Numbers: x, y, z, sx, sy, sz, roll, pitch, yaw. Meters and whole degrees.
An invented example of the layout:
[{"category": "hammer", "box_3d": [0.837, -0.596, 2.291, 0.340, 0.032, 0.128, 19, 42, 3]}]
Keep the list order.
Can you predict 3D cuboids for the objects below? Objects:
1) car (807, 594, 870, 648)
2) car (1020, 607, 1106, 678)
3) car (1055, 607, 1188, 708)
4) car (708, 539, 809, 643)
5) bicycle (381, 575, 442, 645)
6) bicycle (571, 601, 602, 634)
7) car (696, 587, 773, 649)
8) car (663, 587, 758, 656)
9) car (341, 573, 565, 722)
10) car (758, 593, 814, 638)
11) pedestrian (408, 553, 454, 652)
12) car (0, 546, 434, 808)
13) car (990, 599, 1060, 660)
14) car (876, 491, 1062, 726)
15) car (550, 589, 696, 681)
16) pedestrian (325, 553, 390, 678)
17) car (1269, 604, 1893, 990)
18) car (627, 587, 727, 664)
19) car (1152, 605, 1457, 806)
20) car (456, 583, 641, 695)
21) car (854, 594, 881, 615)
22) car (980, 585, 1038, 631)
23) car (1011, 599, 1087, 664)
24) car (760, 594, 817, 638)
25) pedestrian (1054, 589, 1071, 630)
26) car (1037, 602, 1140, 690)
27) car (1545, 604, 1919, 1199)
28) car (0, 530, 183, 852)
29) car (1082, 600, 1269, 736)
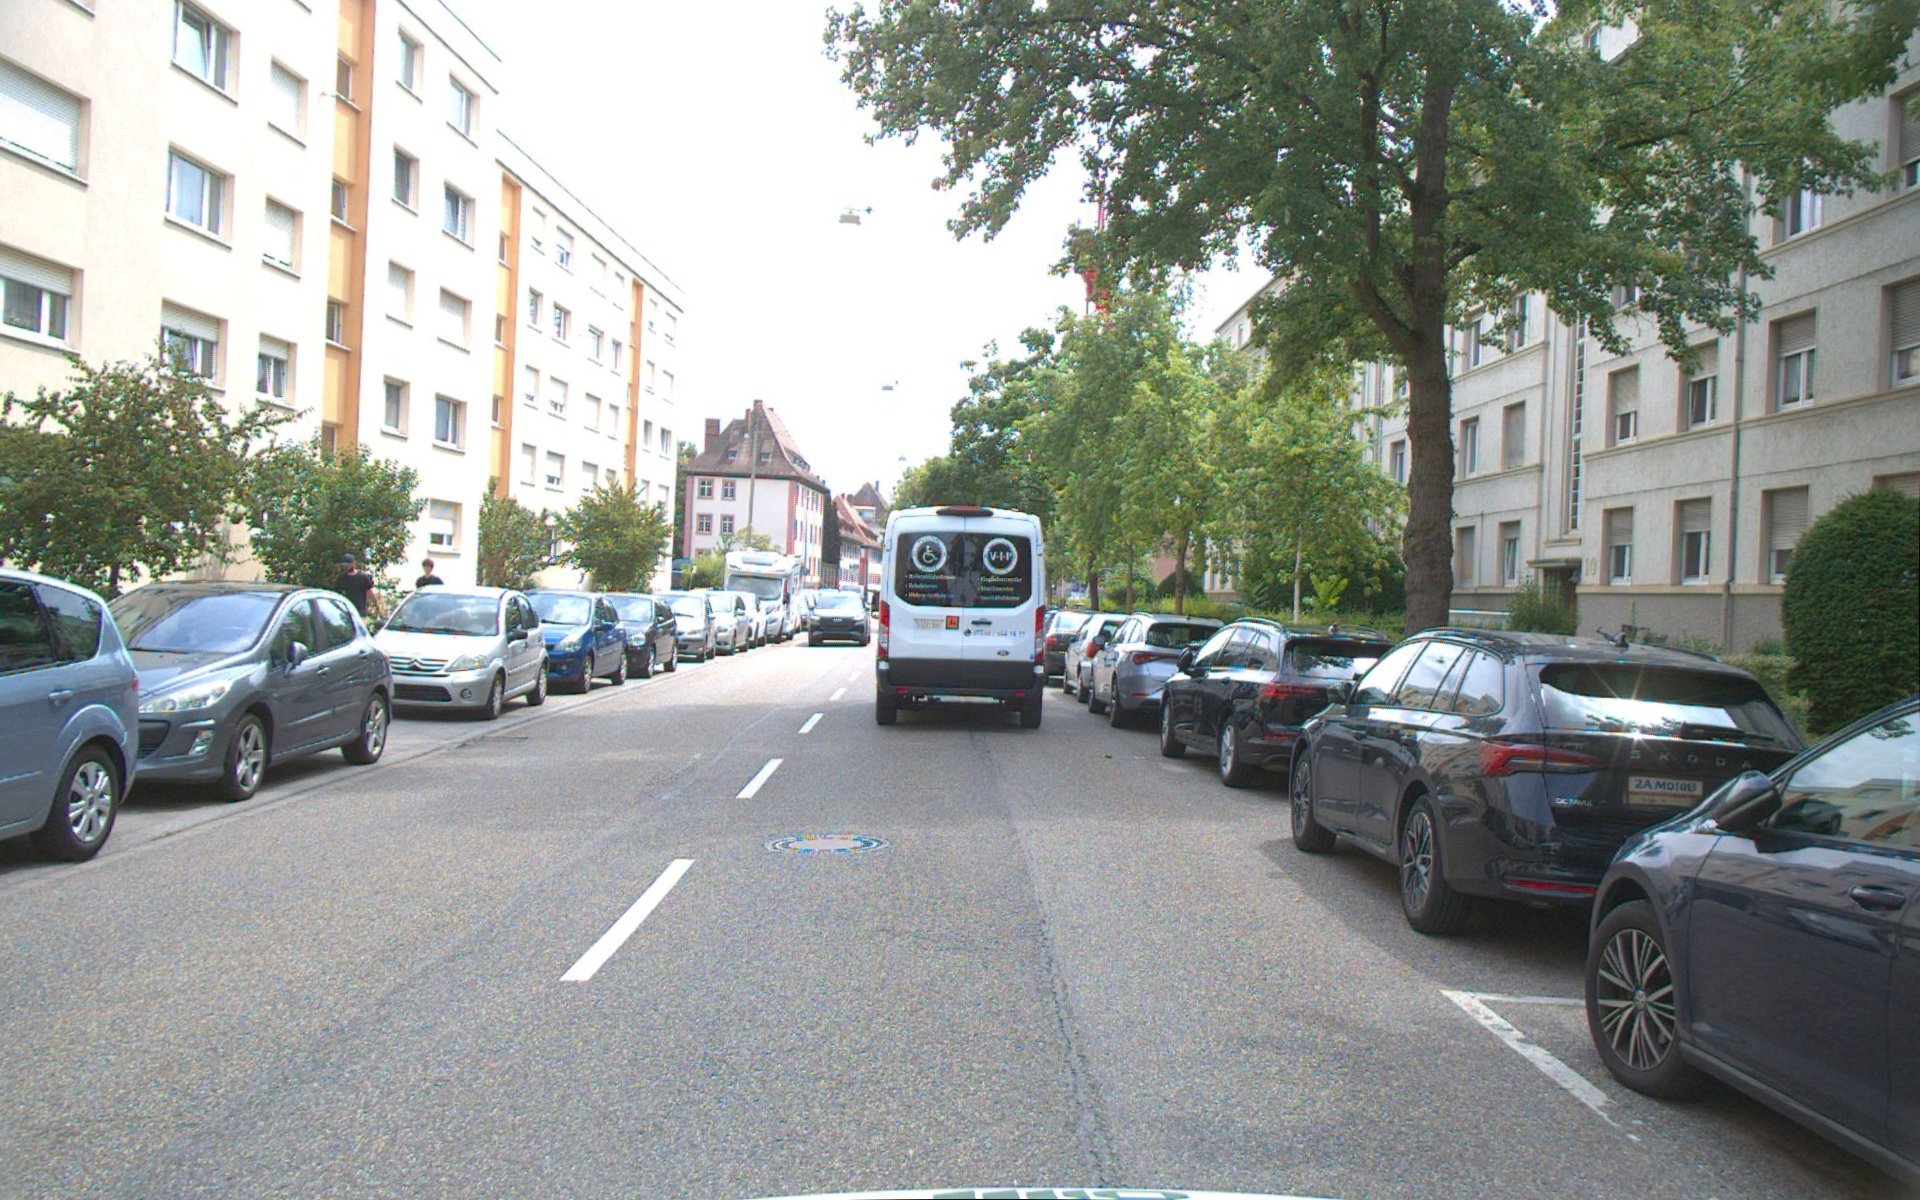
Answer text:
[{"category": "car", "box_3d": [-3.823, 0.623, 52.547, 1.781, 1.613, 4.434, 1, 0, -2]}, {"category": "car", "box_3d": [2.350, 0.944, 38.339, 1.626, 1.495, 3.724, 2, 0, -2]}, {"category": "car", "box_3d": [2.613, 0.898, 27.549, 1.636, 1.425, 3.850, 4, 0, -2]}, {"category": "car", "box_3d": [-6.585, -0.301, 54.953, 2.460, 3.076, 7.394, 3, 0, -2]}, {"category": "bicycle", "box_3d": [-11.660, 0.195, 35.226, 0.452, 1.418, 2.131, 2, 1, 3]}, {"category": "bicycle", "box_3d": [-12.272, 0.550, 54.392, 0.443, 0.997, 2.445, 2, 1, -1]}, {"category": "car", "box_3d": [-6.519, 0.488, 48.169, 1.655, 1.607, 4.592, 3, 0, -2]}, {"category": "car", "box_3d": [-6.423, 0.525, 43.017, 1.719, 1.607, 4.567, 3, 0, 0]}, {"category": "car", "box_3d": [-6.188, 0.532, 20.630, 1.636, 1.589, 3.850, 4, 0, -2]}, {"category": "car", "box_3d": [-6.530, 0.549, 62.370, 1.655, 1.522, 4.592, 3, 0, -2]}, {"category": "pedestrian", "box_3d": [-9.995, 0.043, 31.271, 0.607, 1.845, 0.803, 1, 0, -4]}, {"category": "car", "box_3d": [-5.840, 0.500, 13.122, 1.903, 1.640, 4.301, 4, 0, -1]}, {"category": "car", "box_3d": [1.910, 0.860, 49.848, 1.626, 1.610, 4.283, 5, 0, -3]}, {"category": "car", "box_3d": [-0.007, 0.107, 20.775, 2.029, 2.585, 4.632, 1, 0, -3]}, {"category": "car", "box_3d": [-6.249, 0.609, 31.132, 1.781, 1.509, 4.116, 3, 0, 0]}, {"category": "pedestrian", "box_3d": [-9.159, 0.231, 25.175, 0.607, 1.844, 0.899, 3, 0, -3]}, {"category": "car", "box_3d": [3.022, 0.831, 9.191, 1.663, 1.495, 4.559, 4, 0, 0]}, {"category": "car", "box_3d": [-6.401, 0.534, 37.780, 1.688, 1.566, 4.003, 2, 1, -2]}, {"category": "car", "box_3d": [3.071, 0.866, 15.776, 1.663, 1.495, 4.752, 4, 0, -2]}, {"category": "car", "box_3d": [-6.318, 0.557, 25.814, 1.781, 1.509, 3.885, 3, 0, 1]}, {"category": "car", "box_3d": [-7.194, 0.331, 128.704, 1.749, 1.507, 3.861, 3, 0, 0]}, {"category": "car", "box_3d": [2.038, 0.320, 70.154, 1.889, 1.690, 5.321, 5, 0, -3]}, {"category": "car", "box_3d": [2.282, 0.782, 43.335, 1.626, 1.495, 3.888, 2, 1, -2]}, {"category": "car", "box_3d": [-6.994, 0.634, 67.960, 1.848, 1.607, 5.217, 3, 0, -2]}, {"category": "pedestrian", "box_3d": [4.718, 0.452, 76.209, 0.520, 1.860, 0.515, 1, 0, -44]}, {"category": "car", "box_3d": [2.482, 0.849, 32.778, 1.743, 1.495, 4.615, 4, 0, 2]}, {"category": "car", "box_3d": [3.022, 0.818, 4.016, 1.663, 1.495, 4.101, 4, 0, 0]}, {"category": "car", "box_3d": [-5.809, 0.406, 7.750, 1.902, 1.640, 4.862, 4, 0, 1]}, {"category": "car", "box_3d": [2.747, 0.812, 22.091, 1.663, 1.495, 4.716, 4, 0, -2]}]
